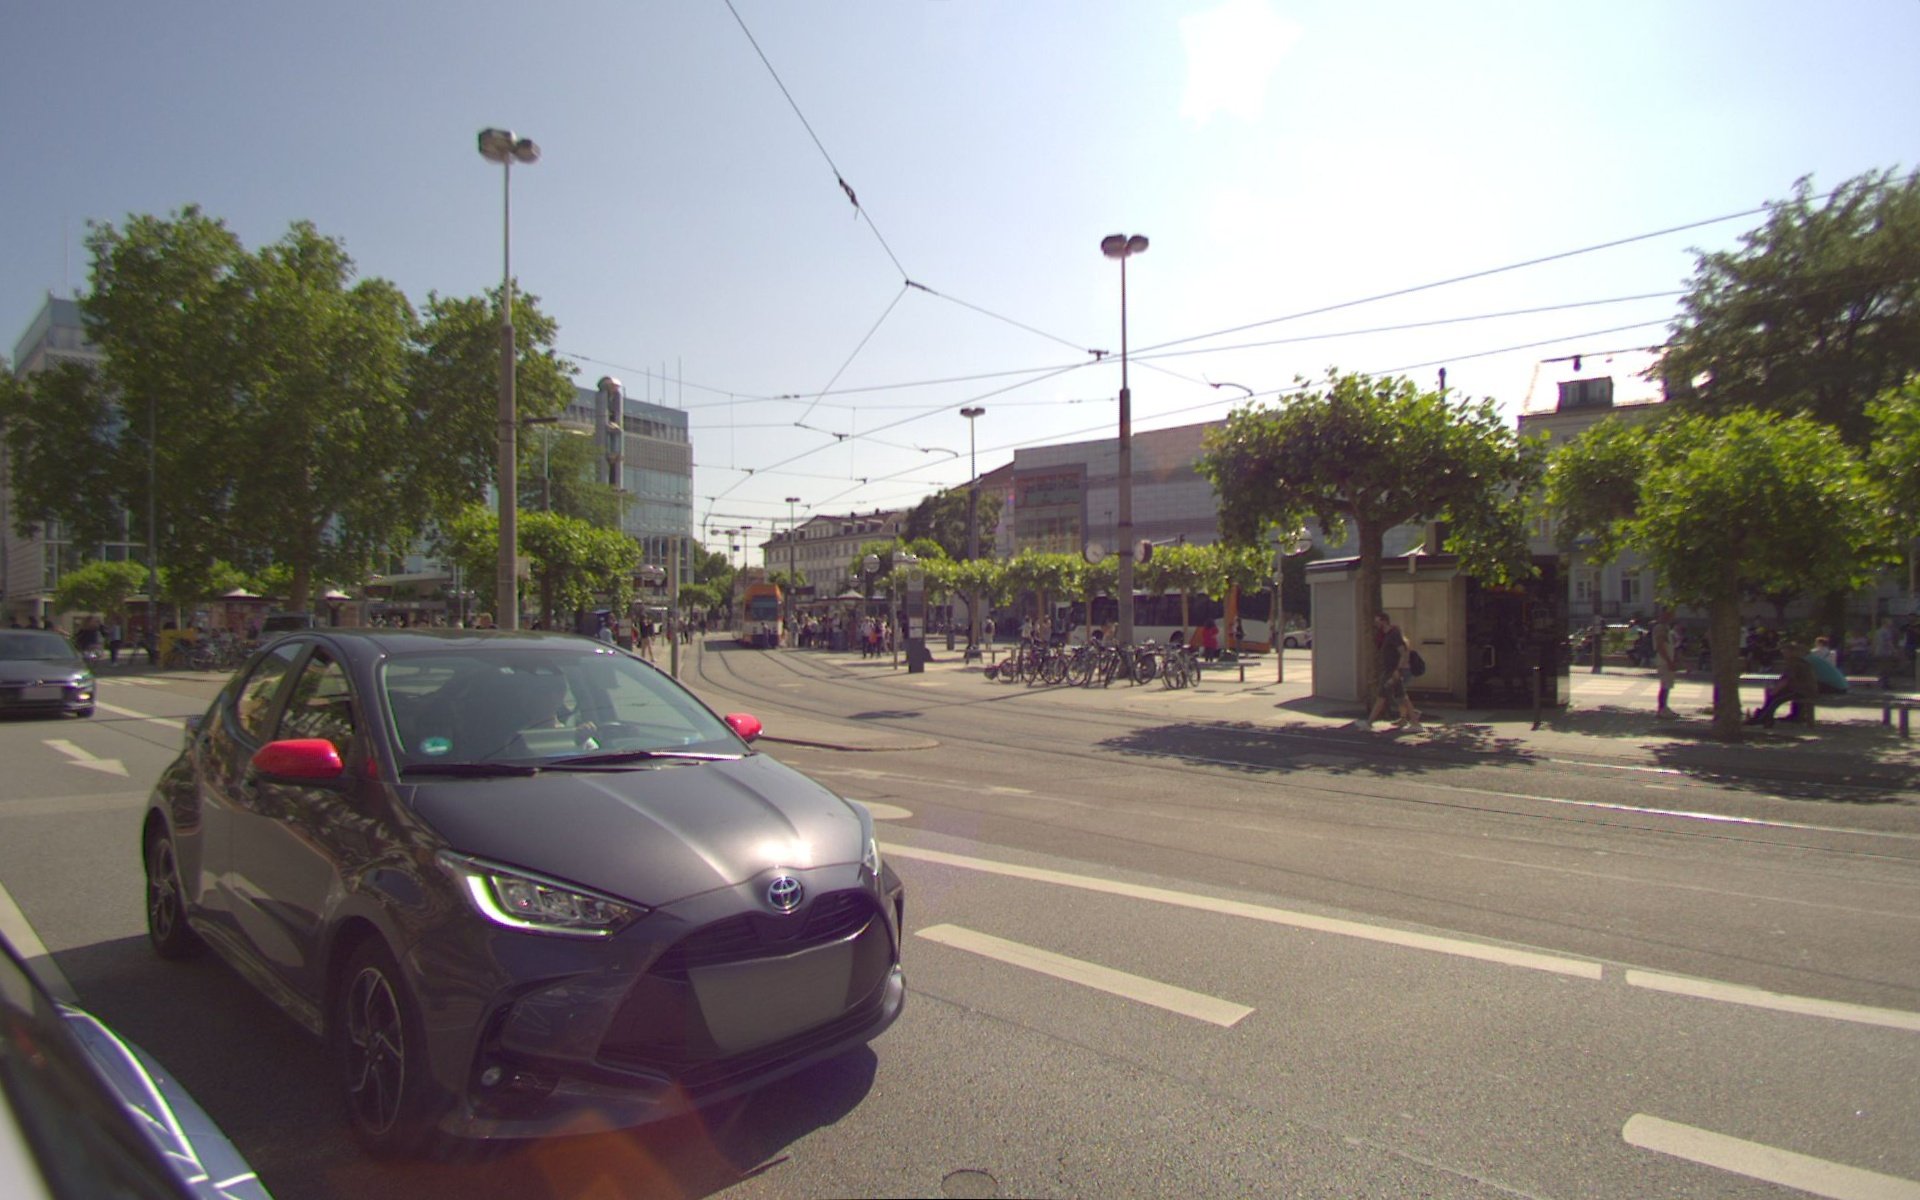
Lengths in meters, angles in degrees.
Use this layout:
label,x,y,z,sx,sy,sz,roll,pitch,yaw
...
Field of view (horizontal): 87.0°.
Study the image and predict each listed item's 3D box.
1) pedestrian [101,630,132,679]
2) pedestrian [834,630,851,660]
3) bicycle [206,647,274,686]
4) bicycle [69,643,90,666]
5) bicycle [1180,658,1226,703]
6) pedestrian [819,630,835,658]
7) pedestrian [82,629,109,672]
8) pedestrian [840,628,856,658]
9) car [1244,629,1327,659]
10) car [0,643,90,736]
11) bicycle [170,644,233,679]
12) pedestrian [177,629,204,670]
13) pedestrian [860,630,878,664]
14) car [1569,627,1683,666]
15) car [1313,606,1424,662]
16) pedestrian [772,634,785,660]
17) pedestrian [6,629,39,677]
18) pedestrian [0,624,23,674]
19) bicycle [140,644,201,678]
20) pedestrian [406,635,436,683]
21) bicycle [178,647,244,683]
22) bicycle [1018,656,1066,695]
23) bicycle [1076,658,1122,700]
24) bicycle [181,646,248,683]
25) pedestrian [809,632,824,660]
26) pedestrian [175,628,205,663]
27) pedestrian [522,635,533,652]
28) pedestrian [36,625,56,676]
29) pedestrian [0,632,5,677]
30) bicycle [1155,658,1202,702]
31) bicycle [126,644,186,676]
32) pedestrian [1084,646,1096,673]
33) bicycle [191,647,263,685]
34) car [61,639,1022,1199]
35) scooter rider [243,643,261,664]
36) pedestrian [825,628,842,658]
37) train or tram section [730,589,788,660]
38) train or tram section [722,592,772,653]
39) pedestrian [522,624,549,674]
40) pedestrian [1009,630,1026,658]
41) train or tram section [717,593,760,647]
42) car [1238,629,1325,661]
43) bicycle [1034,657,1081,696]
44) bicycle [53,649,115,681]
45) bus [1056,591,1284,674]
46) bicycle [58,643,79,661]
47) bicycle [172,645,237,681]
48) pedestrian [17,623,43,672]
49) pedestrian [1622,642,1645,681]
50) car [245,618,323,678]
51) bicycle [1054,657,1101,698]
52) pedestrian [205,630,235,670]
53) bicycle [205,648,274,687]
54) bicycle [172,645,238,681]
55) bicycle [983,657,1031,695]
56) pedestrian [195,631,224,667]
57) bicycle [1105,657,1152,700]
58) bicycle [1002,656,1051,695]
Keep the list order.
label,x,y,z,sx,sy,sz,roll,pitch,yaw
pedestrian,-30.335,1.941,36.388,0.639,1.704,0.637,-2,0,27
pedestrian,-6.088,2.346,52.423,0.674,1.561,0.575,-1,-4,17
bicycle,-23.240,2.139,32.691,0.482,1.156,1.735,-2,-1,38
bicycle,-49.506,3.054,56.920,0.718,1.152,1.917,-2,0,-36
bicycle,5.663,1.844,23.499,0.579,0.876,1.853,-2,0,27
pedestrian,-7.389,2.431,56.173,0.674,1.561,0.575,-1,-4,17
pedestrian,-37.054,2.157,43.360,0.666,1.760,0.742,-2,0,39
pedestrian,-5.908,2.280,53.457,0.674,1.561,0.575,-1,-4,17
car,17.904,2.413,55.689,3.991,1.519,1.740,-2,0,35
car,-16.227,1.454,17.176,3.999,1.415,1.677,-2,-3,42
bicycle,-26.758,2.172,35.726,0.482,1.156,1.735,-2,-1,38
pedestrian,-33.704,2.160,44.340,0.739,1.760,0.785,-2,0,-23
pedestrian,-4.285,2.214,47.660,0.675,1.610,0.621,-1,-4,18
car,28.614,1.995,43.561,3.991,1.519,1.740,-2,0,35
car,22.575,1.874,56.039,5.386,2.909,1.936,-2,0,35
pedestrian,-10.928,2.814,60.932,0.568,1.561,0.682,2,-4,-23
pedestrian,-33.870,1.910,36.578,0.620,1.661,0.754,-2,0,-23
pedestrian,-35.487,1.817,37.715,0.529,1.796,0.745,-2,0,-15
bicycle,-29.244,2.249,37.512,0.482,1.156,1.735,-2,-1,38
pedestrian,-17.574,1.916,33.018,0.680,1.536,0.616,-3,-5,41
bicycle,-25.439,2.190,34.394,0.482,1.156,1.735,-2,-1,38
bicycle,2.153,1.964,26.449,0.544,0.862,1.853,-2,0,27
bicycle,3.477,1.946,25.216,0.544,0.862,1.853,-2,0,27
bicycle,-24.905,2.146,33.833,0.482,1.156,1.735,-2,-1,38
pedestrian,-8.001,2.562,56.454,0.573,1.561,0.677,-1,-4,14
pedestrian,-32.358,1.895,42.555,0.780,1.418,0.744,-2,0,31
pedestrian,-38.292,3.832,89.636,0.757,1.483,0.548,-2,0,40
pedestrian,-33.903,1.853,37.534,0.510,1.849,0.716,-2,0,-42
pedestrian,-38.184,2.155,39.941,0.752,1.760,0.605,-2,-1,39
bicycle,5.151,1.859,23.774,0.579,0.876,1.853,-2,0,27
bicycle,-30.596,2.273,38.549,0.482,1.156,1.735,-2,-1,38
pedestrian,7.130,3.284,55.530,0.672,1.477,0.623,0,-4,7
bicycle,-24.014,2.156,33.179,0.482,1.156,1.842,-2,-1,38
car,-1.892,0.910,4.014,3.994,1.486,1.760,-1,-3,38
scooter rider,-28.934,2.176,41.340,0.499,0.845,0.350,-2,0,-16
pedestrian,-6.676,2.270,53.366,0.674,1.561,0.575,-1,-4,17
train or tram section,-12.220,1.397,60.903,2.578,3.856,9.547,-2,0,-16
train or tram section,-14.856,1.446,70.103,2.578,3.856,9.547,-2,0,-16
pedestrian,-15.612,1.815,37.215,0.671,1.808,0.625,0,-4,-1
pedestrian,3.291,2.528,57.640,0.840,1.561,0.677,-1,-4,14
train or tram section,-17.460,1.493,79.262,2.578,3.856,9.547,-2,0,-16
car,16.745,2.328,52.753,3.991,1.519,1.740,-2,0,35
bicycle,2.535,1.954,26.077,0.544,0.862,1.853,-2,0,27
bicycle,-30.216,2.224,34.904,2.616,1.030,0.823,-2,0,31
bus,9.538,1.431,48.516,3.014,3.445,12.497,-2,0,-30
bicycle,-57.139,3.322,64.853,1.753,1.156,0.586,-1,-1,33
bicycle,-26.248,2.185,35.178,0.482,1.156,1.735,-2,-1,38
pedestrian,-35.827,1.829,38.993,0.738,1.860,0.587,-2,-3,39
pedestrian,22.446,2.051,33.739,0.510,1.273,0.454,3,-5,-37
car,-25.714,1.764,38.653,1.966,2.029,5.083,-2,0,-28
bicycle,2.995,1.943,25.647,0.544,0.862,1.853,-2,0,27
pedestrian,-30.736,2.056,42.049,0.780,1.608,0.744,-2,0,31
bicycle,-22.986,2.133,32.325,0.482,1.156,1.735,-2,-1,38
bicycle,-25.895,2.155,34.728,0.482,1.156,1.735,-2,-1,38
bicycle,1.280,2.039,27.320,0.544,0.862,1.853,-2,0,27
pedestrian,-31.447,2.046,42.428,0.671,1.435,0.744,-2,0,30
bicycle,4.113,1.888,24.584,0.579,0.876,1.853,-2,0,27
bicycle,1.792,1.992,26.924,0.580,0.878,1.853,-2,0,27
